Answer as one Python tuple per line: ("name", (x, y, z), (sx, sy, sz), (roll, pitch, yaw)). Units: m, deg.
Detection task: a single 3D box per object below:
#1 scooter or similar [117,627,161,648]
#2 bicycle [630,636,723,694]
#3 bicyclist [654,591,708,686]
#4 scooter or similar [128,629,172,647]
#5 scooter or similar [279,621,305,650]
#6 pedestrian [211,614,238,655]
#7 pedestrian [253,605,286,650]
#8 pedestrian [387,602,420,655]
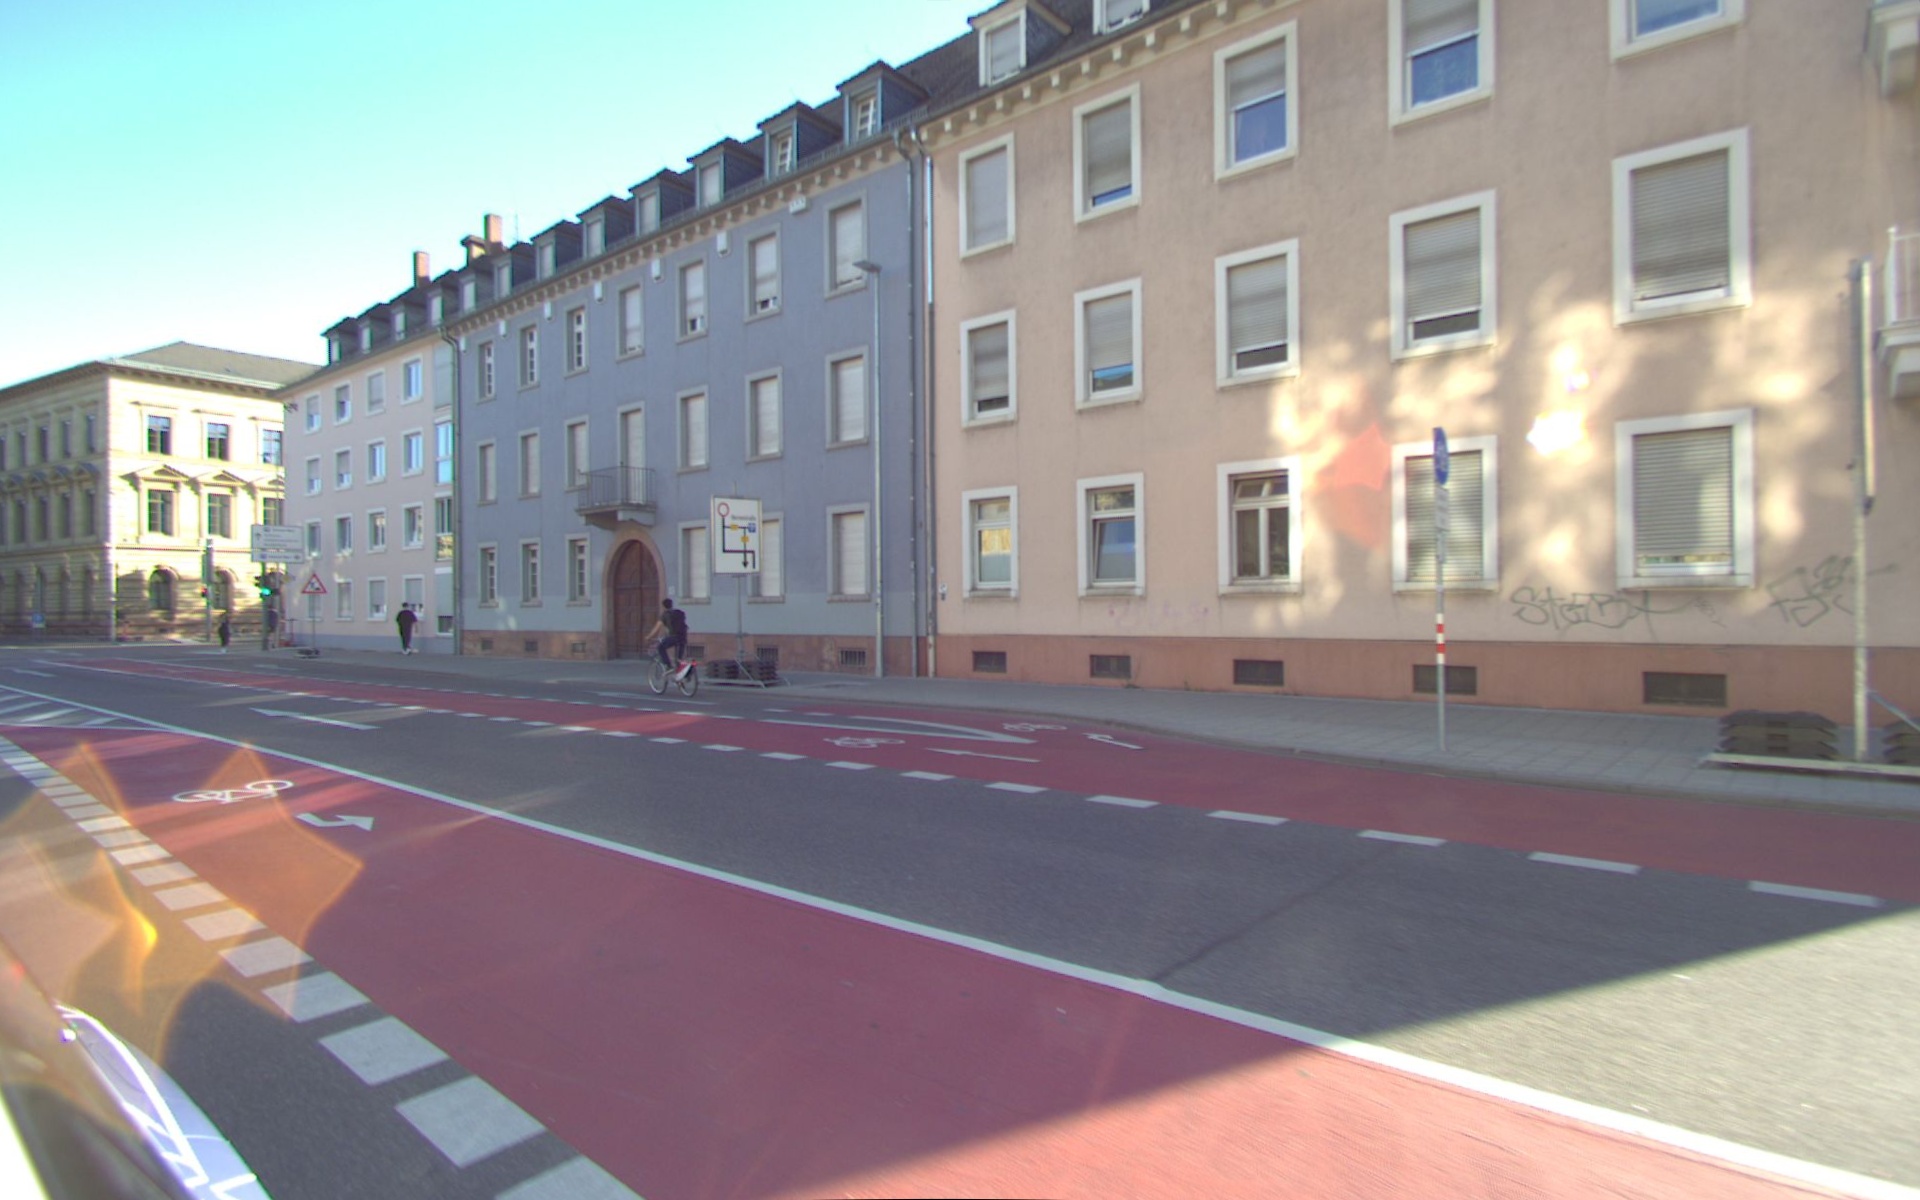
("scooter or similar", (-48.583, 2.205, 59.913), (1.999, 1.197, 0.457), (0, -1, -31))
("bicycle", (-5.295, 1.184, 18.830), (2.108, 1.003, 0.639), (-1, -2, 42))
("bicyclist", (-5.172, 0.721, 18.767), (0.738, 1.723, 0.629), (-1, -4, 41))
("scooter or similar", (-48.732, 2.284, 60.917), (0.455, 1.060, 2.010), (-1, -1, 34))
("scooter or similar", (-29.070, 1.537, 44.019), (1.472, 1.194, 0.528), (-1, 0, 40))
("pedestrian", (-30.071, 1.408, 41.370), (0.817, 1.595, 0.625), (-1, 2, 38))
("pedestrian", (-29.786, 1.190, 43.680), (1.014, 1.877, 0.859), (-1, 1, 40))
("pedestrian", (-20.007, 1.014, 36.363), (1.012, 1.860, 0.625), (-1, 2, 38))
